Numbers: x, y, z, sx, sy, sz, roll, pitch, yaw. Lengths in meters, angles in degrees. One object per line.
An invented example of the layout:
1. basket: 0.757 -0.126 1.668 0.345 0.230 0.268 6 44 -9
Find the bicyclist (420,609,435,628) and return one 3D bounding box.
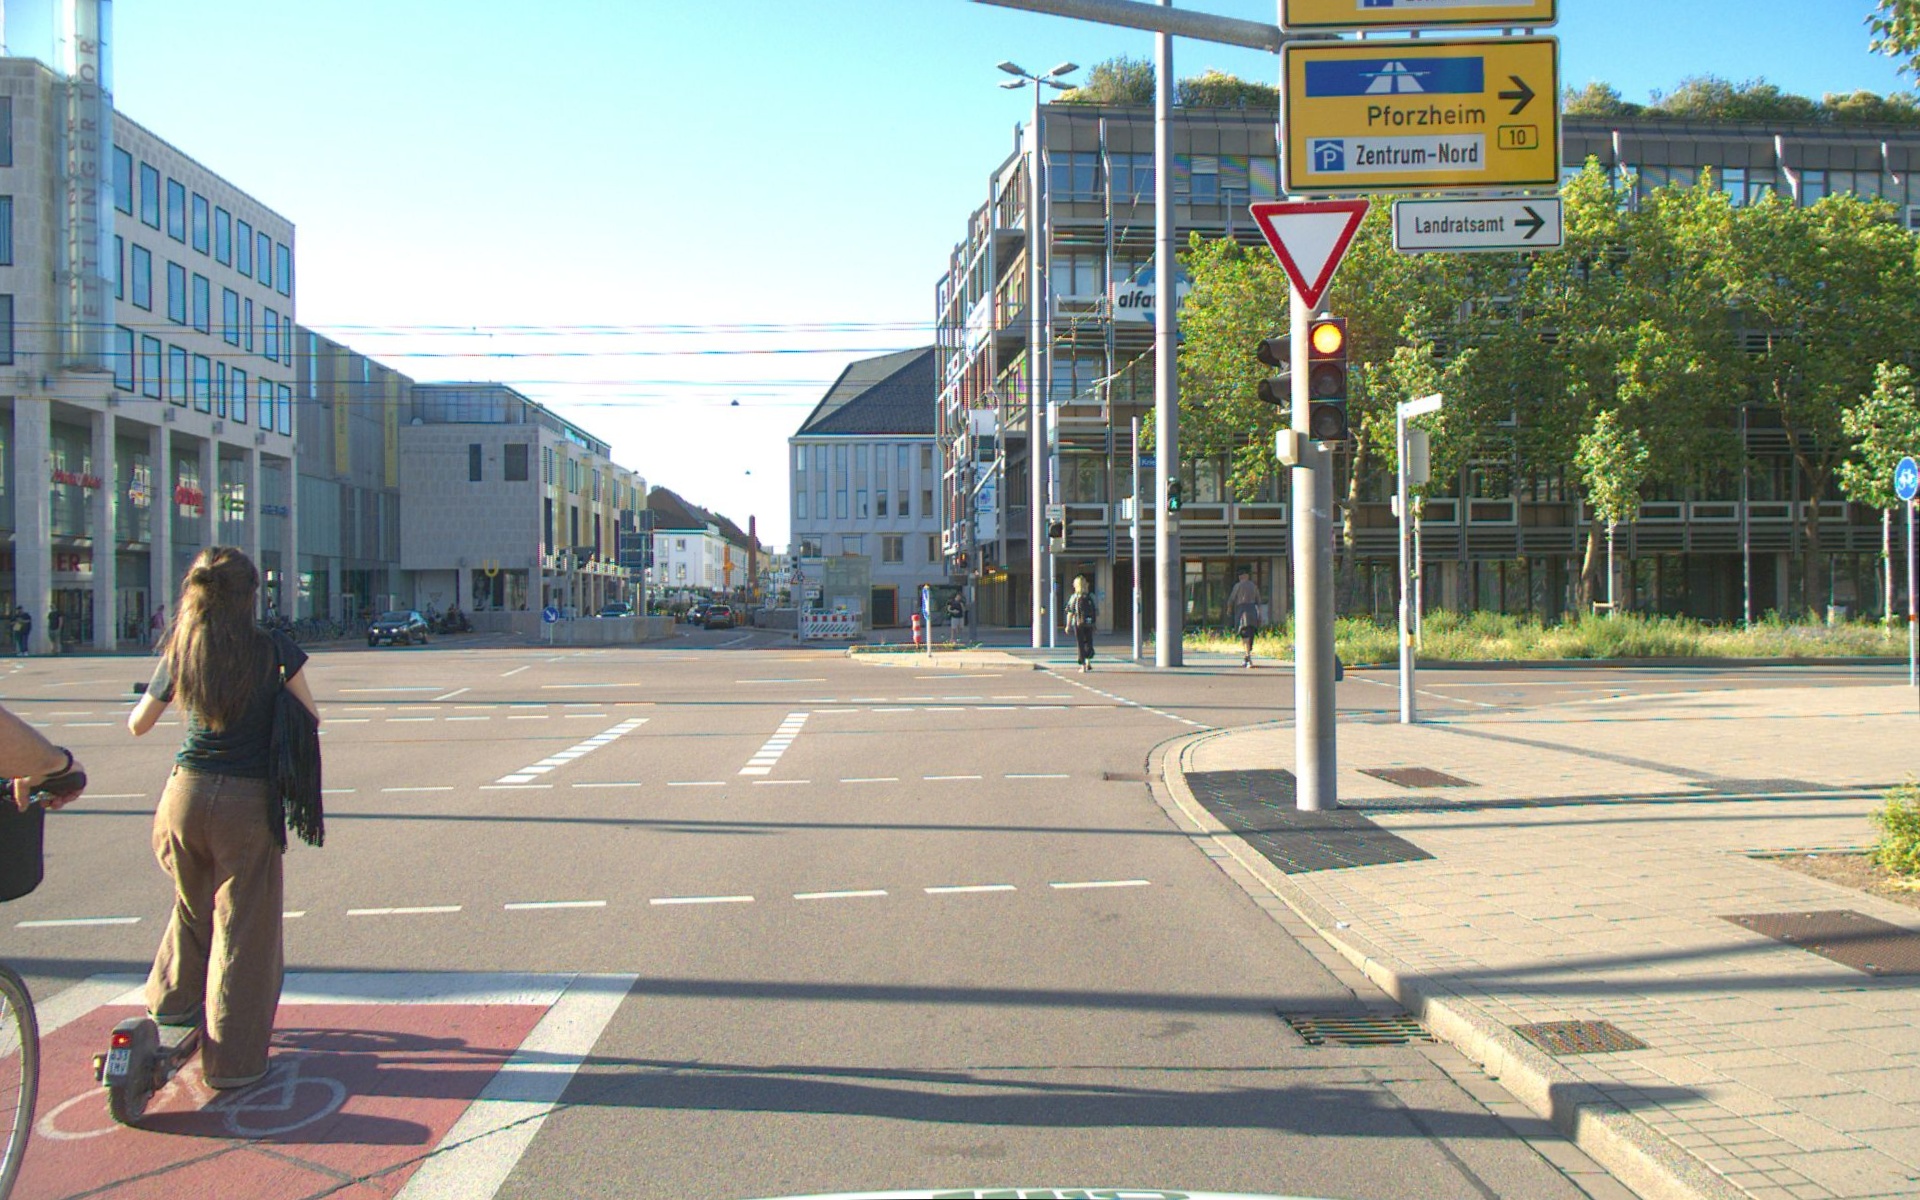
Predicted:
1. bicyclist: -30.289 1.055 94.071 0.502 1.103 0.622 1 0 40

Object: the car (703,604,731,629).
1. car: -15.822 1.080 107.945 1.705 1.558 3.849 1 0 -8

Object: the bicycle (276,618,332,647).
1. bicycle: -29.603 1.463 74.698 2.260 1.244 0.611 0 0 -3

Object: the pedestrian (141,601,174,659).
1. pedestrian: -28.980 1.078 59.744 0.868 2.049 0.771 1 -1 -12

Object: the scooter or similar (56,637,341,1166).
1. scooter or similar: -2.181 0.784 4.859 0.538 1.316 1.189 1 0 -15

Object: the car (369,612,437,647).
1. car: -23.377 1.220 69.484 1.597 1.365 3.998 -3 0 -3

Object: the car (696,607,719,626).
1. car: -23.500 1.510 154.019 1.762 1.686 3.996 1 0 -5

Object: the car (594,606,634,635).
1. car: -20.495 1.208 98.151 1.762 1.686 3.996 1 0 -5

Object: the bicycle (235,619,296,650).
1. bicycle: -29.126 1.447 69.402 2.260 1.244 0.611 0 0 -3

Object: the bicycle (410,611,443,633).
1. bicycle: -30.324 1.258 94.054 0.503 1.228 1.799 1 0 43

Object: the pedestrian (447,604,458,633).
1. pedestrian: -30.096 1.093 98.079 0.512 1.709 0.581 1 0 -14

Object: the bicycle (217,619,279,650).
1. bicycle: -29.333 1.437 68.117 2.260 1.244 0.611 0 0 -3

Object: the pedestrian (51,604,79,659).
1. pedestrian: -31.171 1.080 57.604 0.788 1.876 0.854 0 0 -33

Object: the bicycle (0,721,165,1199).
1. bicycle: -2.085 0.867 2.926 0.475 1.176 1.831 1 0 -1

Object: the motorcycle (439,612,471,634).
1. motorcycle: -29.759 1.347 97.476 1.775 1.228 0.509 1 0 -16

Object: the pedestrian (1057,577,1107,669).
1. pedestrian: 2.049 0.380 27.885 0.772 1.518 0.644 1 -1 -1

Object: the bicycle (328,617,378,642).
1. bicycle: -30.926 1.483 84.268 2.260 1.244 0.611 0 0 -3

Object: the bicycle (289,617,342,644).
1. bicycle: -30.713 1.462 78.819 2.260 1.244 0.611 0 0 -3

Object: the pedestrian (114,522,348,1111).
1. pedestrian: -2.191 0.616 5.026 0.540 1.661 0.569 1 -1 -16

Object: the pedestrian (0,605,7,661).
1. pedestrian: -33.180 1.119 56.806 0.706 1.918 0.780 1 -1 -28

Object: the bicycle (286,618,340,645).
1. bicycle: -30.064 1.464 76.849 2.260 1.244 0.611 0 0 -3

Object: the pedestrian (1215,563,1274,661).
1. pedestrian: 5.053 0.210 29.418 0.861 1.694 0.964 1 -1 -1

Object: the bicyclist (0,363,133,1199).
1. bicyclist: -1.981 0.463 2.851 0.647 1.750 0.865 1 -1 -1

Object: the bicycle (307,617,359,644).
1. bicycle: -30.333 1.474 80.051 2.260 1.244 0.611 0 0 -3

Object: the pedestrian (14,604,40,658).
1. pedestrian: -32.862 1.089 58.263 0.787 1.876 0.856 0 0 -29

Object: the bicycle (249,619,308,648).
1. bicycle: -29.503 1.450 71.633 2.260 1.244 0.611 0 0 -3

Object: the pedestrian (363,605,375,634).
1. pedestrian: -34.988 1.167 97.863 0.560 1.709 0.614 1 0 -10

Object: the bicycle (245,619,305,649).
1. bicycle: -29.290 1.450 70.756 2.260 1.244 0.611 0 0 -3

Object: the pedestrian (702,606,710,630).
1. pedestrian: -17.883 1.264 116.651 0.511 1.709 0.582 1 0 -8

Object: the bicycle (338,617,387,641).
1. bicycle: -30.814 1.490 85.338 2.260 1.244 0.611 0 0 -3

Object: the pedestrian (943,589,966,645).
1. pedestrian: -0.203 0.590 57.296 0.772 1.923 0.644 1 -1 -1
